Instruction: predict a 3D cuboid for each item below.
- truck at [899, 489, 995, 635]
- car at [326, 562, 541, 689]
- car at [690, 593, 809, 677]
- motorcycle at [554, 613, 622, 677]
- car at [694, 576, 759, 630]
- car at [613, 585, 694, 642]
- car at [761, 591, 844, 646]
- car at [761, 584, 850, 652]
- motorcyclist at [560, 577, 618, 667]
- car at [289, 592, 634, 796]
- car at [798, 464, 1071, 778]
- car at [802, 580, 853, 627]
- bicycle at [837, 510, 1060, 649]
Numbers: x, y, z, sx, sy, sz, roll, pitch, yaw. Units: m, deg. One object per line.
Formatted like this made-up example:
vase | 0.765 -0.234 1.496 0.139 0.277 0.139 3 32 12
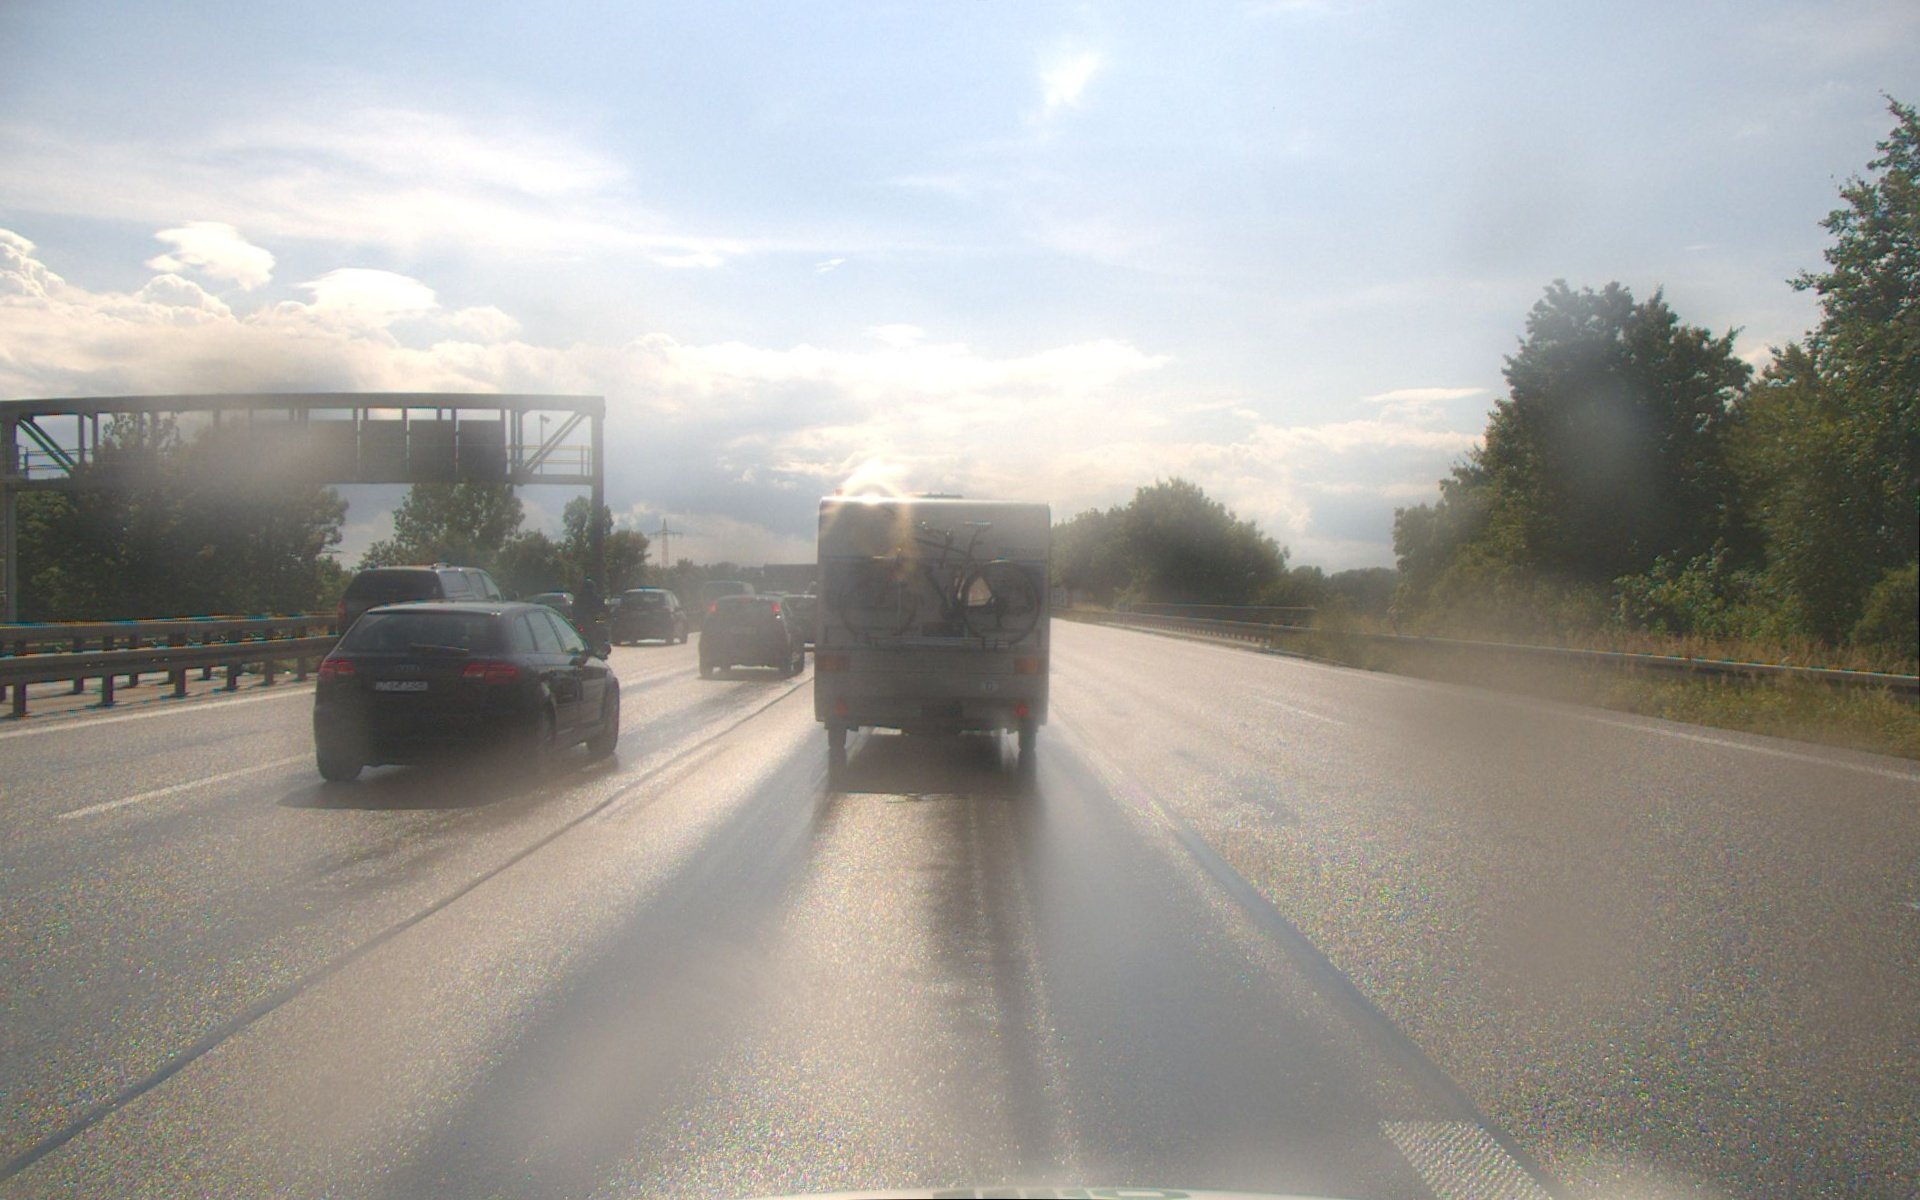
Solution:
truck | -0.539 -1.228 58.683 3.082 4.707 10.732 0 0 -1
car | -8.516 0.366 27.316 1.769 1.876 5.418 0 0 0
car | -3.934 0.618 31.537 1.722 1.468 4.000 0 0 0
motorcycle | -6.553 0.773 29.222 0.676 1.045 2.388 0 0 -1
car | -8.883 0.111 63.214 1.810 1.967 5.015 0 0 -1
car | -9.012 0.382 48.856 1.747 1.606 3.915 0 0 -2
car | -4.373 0.491 46.436 1.947 1.483 3.826 0 0 0
car | -3.646 0.405 39.676 1.825 1.534 3.999 0 0 -1
motorcyclist | -6.549 0.385 29.257 0.779 1.564 1.093 0 0 -1
car | -3.986 0.670 13.937 1.714 1.458 4.053 0 0 -1
car | -0.207 0.186 16.528 2.361 2.721 4.000 1 0 0
car | -4.899 0.114 61.454 1.654 1.691 3.640 0 0 -1
bicycle | -0.092 -0.179 14.329 1.894 1.161 0.384 1 0 1
